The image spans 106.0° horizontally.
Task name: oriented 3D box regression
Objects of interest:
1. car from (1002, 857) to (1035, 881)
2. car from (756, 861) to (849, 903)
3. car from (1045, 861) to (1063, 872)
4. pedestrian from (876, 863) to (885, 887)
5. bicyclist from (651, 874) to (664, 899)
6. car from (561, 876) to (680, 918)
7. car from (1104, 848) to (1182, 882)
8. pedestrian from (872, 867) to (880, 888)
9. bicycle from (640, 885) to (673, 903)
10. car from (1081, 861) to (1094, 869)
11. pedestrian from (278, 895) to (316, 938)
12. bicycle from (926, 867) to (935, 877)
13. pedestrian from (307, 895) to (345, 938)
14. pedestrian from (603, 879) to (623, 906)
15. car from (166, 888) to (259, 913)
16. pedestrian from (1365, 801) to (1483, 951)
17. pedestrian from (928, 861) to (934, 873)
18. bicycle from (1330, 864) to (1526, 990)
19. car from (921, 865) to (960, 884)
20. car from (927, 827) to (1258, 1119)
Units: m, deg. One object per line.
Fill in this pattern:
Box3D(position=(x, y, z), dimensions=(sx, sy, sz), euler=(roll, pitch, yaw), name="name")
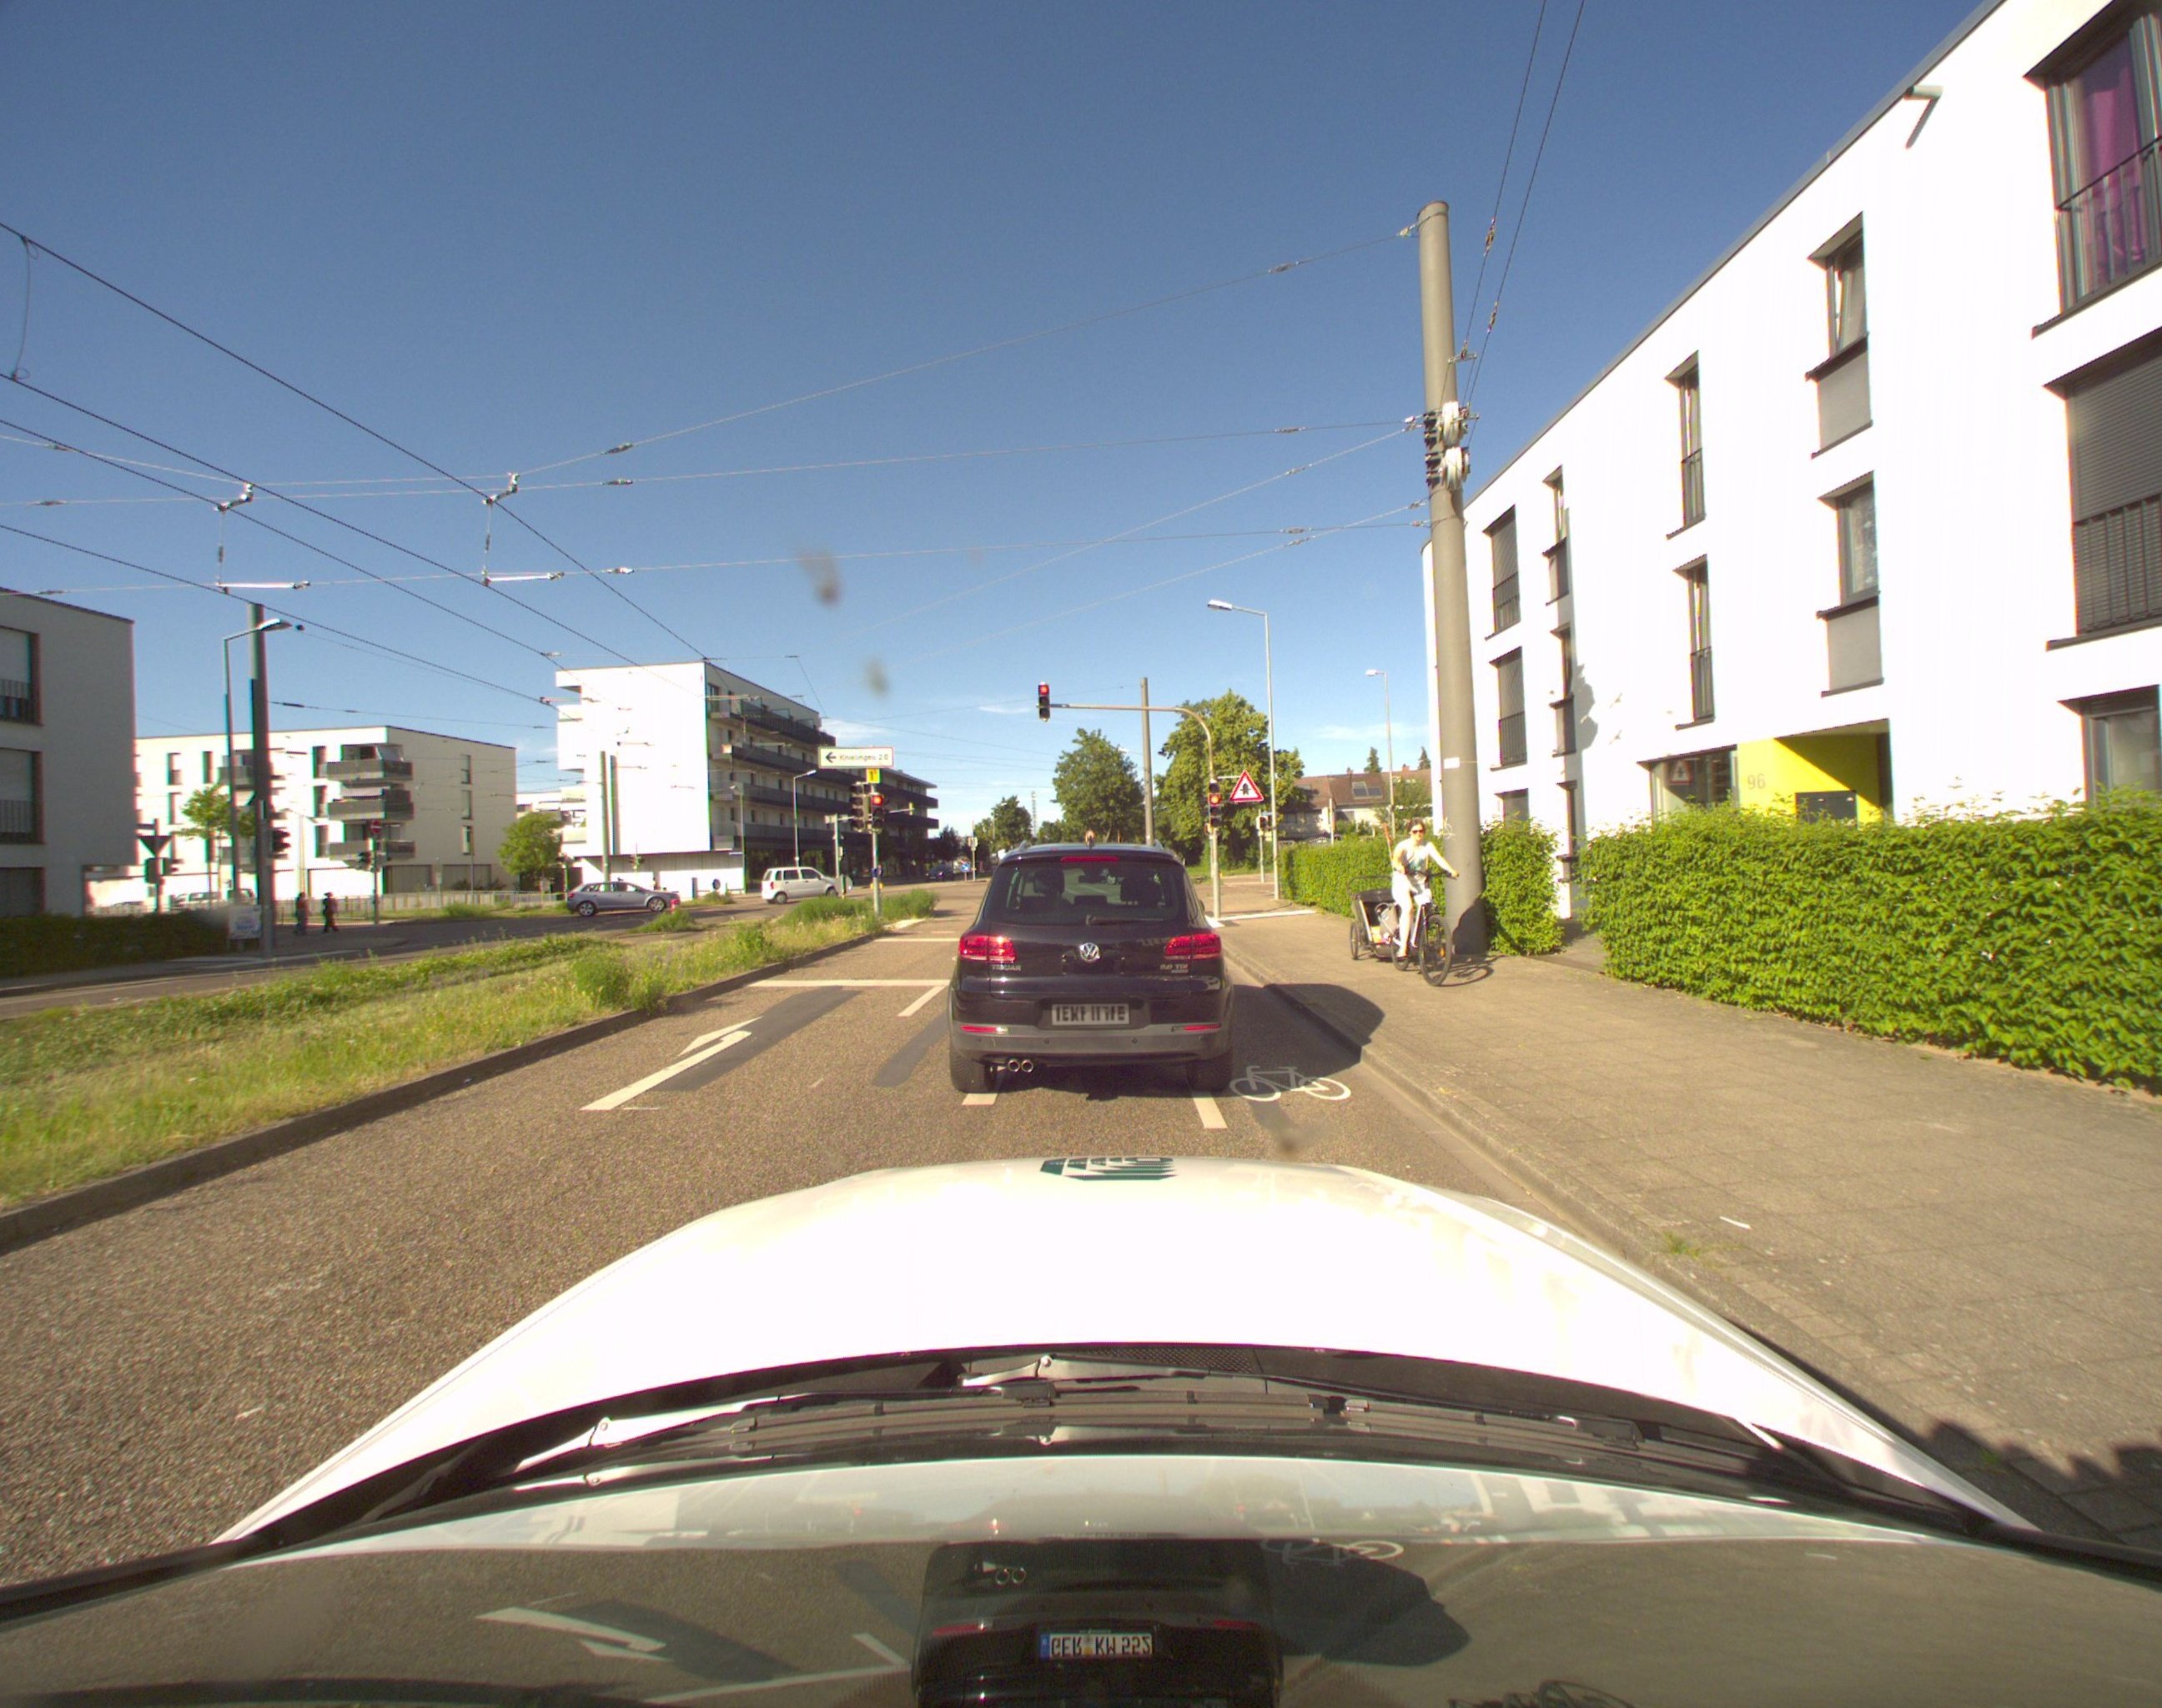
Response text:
Box3D(position=(-4.434, 1.061, 58.263), dimensions=(1.986, 1.684, 4.001), euler=(0, -1, 1), name="car")
Box3D(position=(-12.923, 1.266, 37.848), dimensions=(3.702, 1.720, 1.850), euler=(-2, 0, -34), name="car")
Box3D(position=(-4.096, 1.901, 124.594), dimensions=(1.981, 1.574, 4.350), euler=(-1, -1, 9), name="car")
Box3D(position=(-14.777, 1.540, 60.050), dimensions=(0.542, 1.744, 0.517), euler=(0, -1, -4), name="pedestrian")
Box3D(position=(-28.104, 2.127, 54.054), dimensions=(0.640, 1.614, 0.780), euler=(0, -1, -19), name="bicyclist")
Box3D(position=(-19.404, 1.799, 34.536), dimensions=(4.114, 1.485, 1.855), euler=(-2, 0, -23), name="car")
Box3D(position=(3.476, 0.611, 45.577), dimensions=(3.955, 1.836, 2.009), euler=(-1, -1, 18), name="car")
Box3D(position=(-14.904, 1.684, 59.275), dimensions=(0.440, 1.503, 0.517), euler=(0, -1, -4), name="pedestrian")
Box3D(position=(-28.167, 2.660, 54.062), dimensions=(1.861, 1.124, 0.817), euler=(0, -1, -20), name="bicycle")
Box3D(position=(1.305, 2.134, 161.971), dimensions=(1.981, 1.574, 4.350), euler=(-1, -1, 9), name="car")
Box3D(position=(-30.479, 2.424, 31.670), dimensions=(0.770, 1.605, 0.741), euler=(0, -1, -6), name="pedestrian")
Box3D(position=(-18.864, 2.258, 102.162), dimensions=(0.628, 1.332, 1.914), euler=(0, -1, 2), name="bicycle")
Box3D(position=(-29.388, 2.416, 31.722), dimensions=(0.770, 1.605, 0.741), euler=(0, -1, -6), name="pedestrian")
Box3D(position=(-29.459, 2.415, 51.291), dimensions=(0.809, 1.692, 0.621), euler=(-3, -1, 3), name="pedestrian")
Box3D(position=(-58.869, 3.152, 55.222), dimensions=(4.305, 1.574, 2.002), euler=(0, -1, 4), name="car")
Box3D(position=(3.897, 0.240, 9.326), dimensions=(0.908, 1.594, 0.854), euler=(-3, -1, -1), name="pedestrian")
Box3D(position=(-18.858, 1.632, 102.176), dimensions=(0.640, 1.509, 0.596), euler=(0, -1, 2), name="pedestrian")
Box3D(position=(3.914, 0.742, 9.621), dimensions=(0.926, 1.173, 3.124), euler=(-3, 0, 0), name="bicycle")
Box3D(position=(-12.376, 1.791, 71.947), dimensions=(1.980, 1.574, 4.353), euler=(-1, -1, 11), name="car")
Box3D(position=(0.127, 0.690, 6.612), dimensions=(1.862, 1.637, 4.001), euler=(0, -1, 2), name="car")
